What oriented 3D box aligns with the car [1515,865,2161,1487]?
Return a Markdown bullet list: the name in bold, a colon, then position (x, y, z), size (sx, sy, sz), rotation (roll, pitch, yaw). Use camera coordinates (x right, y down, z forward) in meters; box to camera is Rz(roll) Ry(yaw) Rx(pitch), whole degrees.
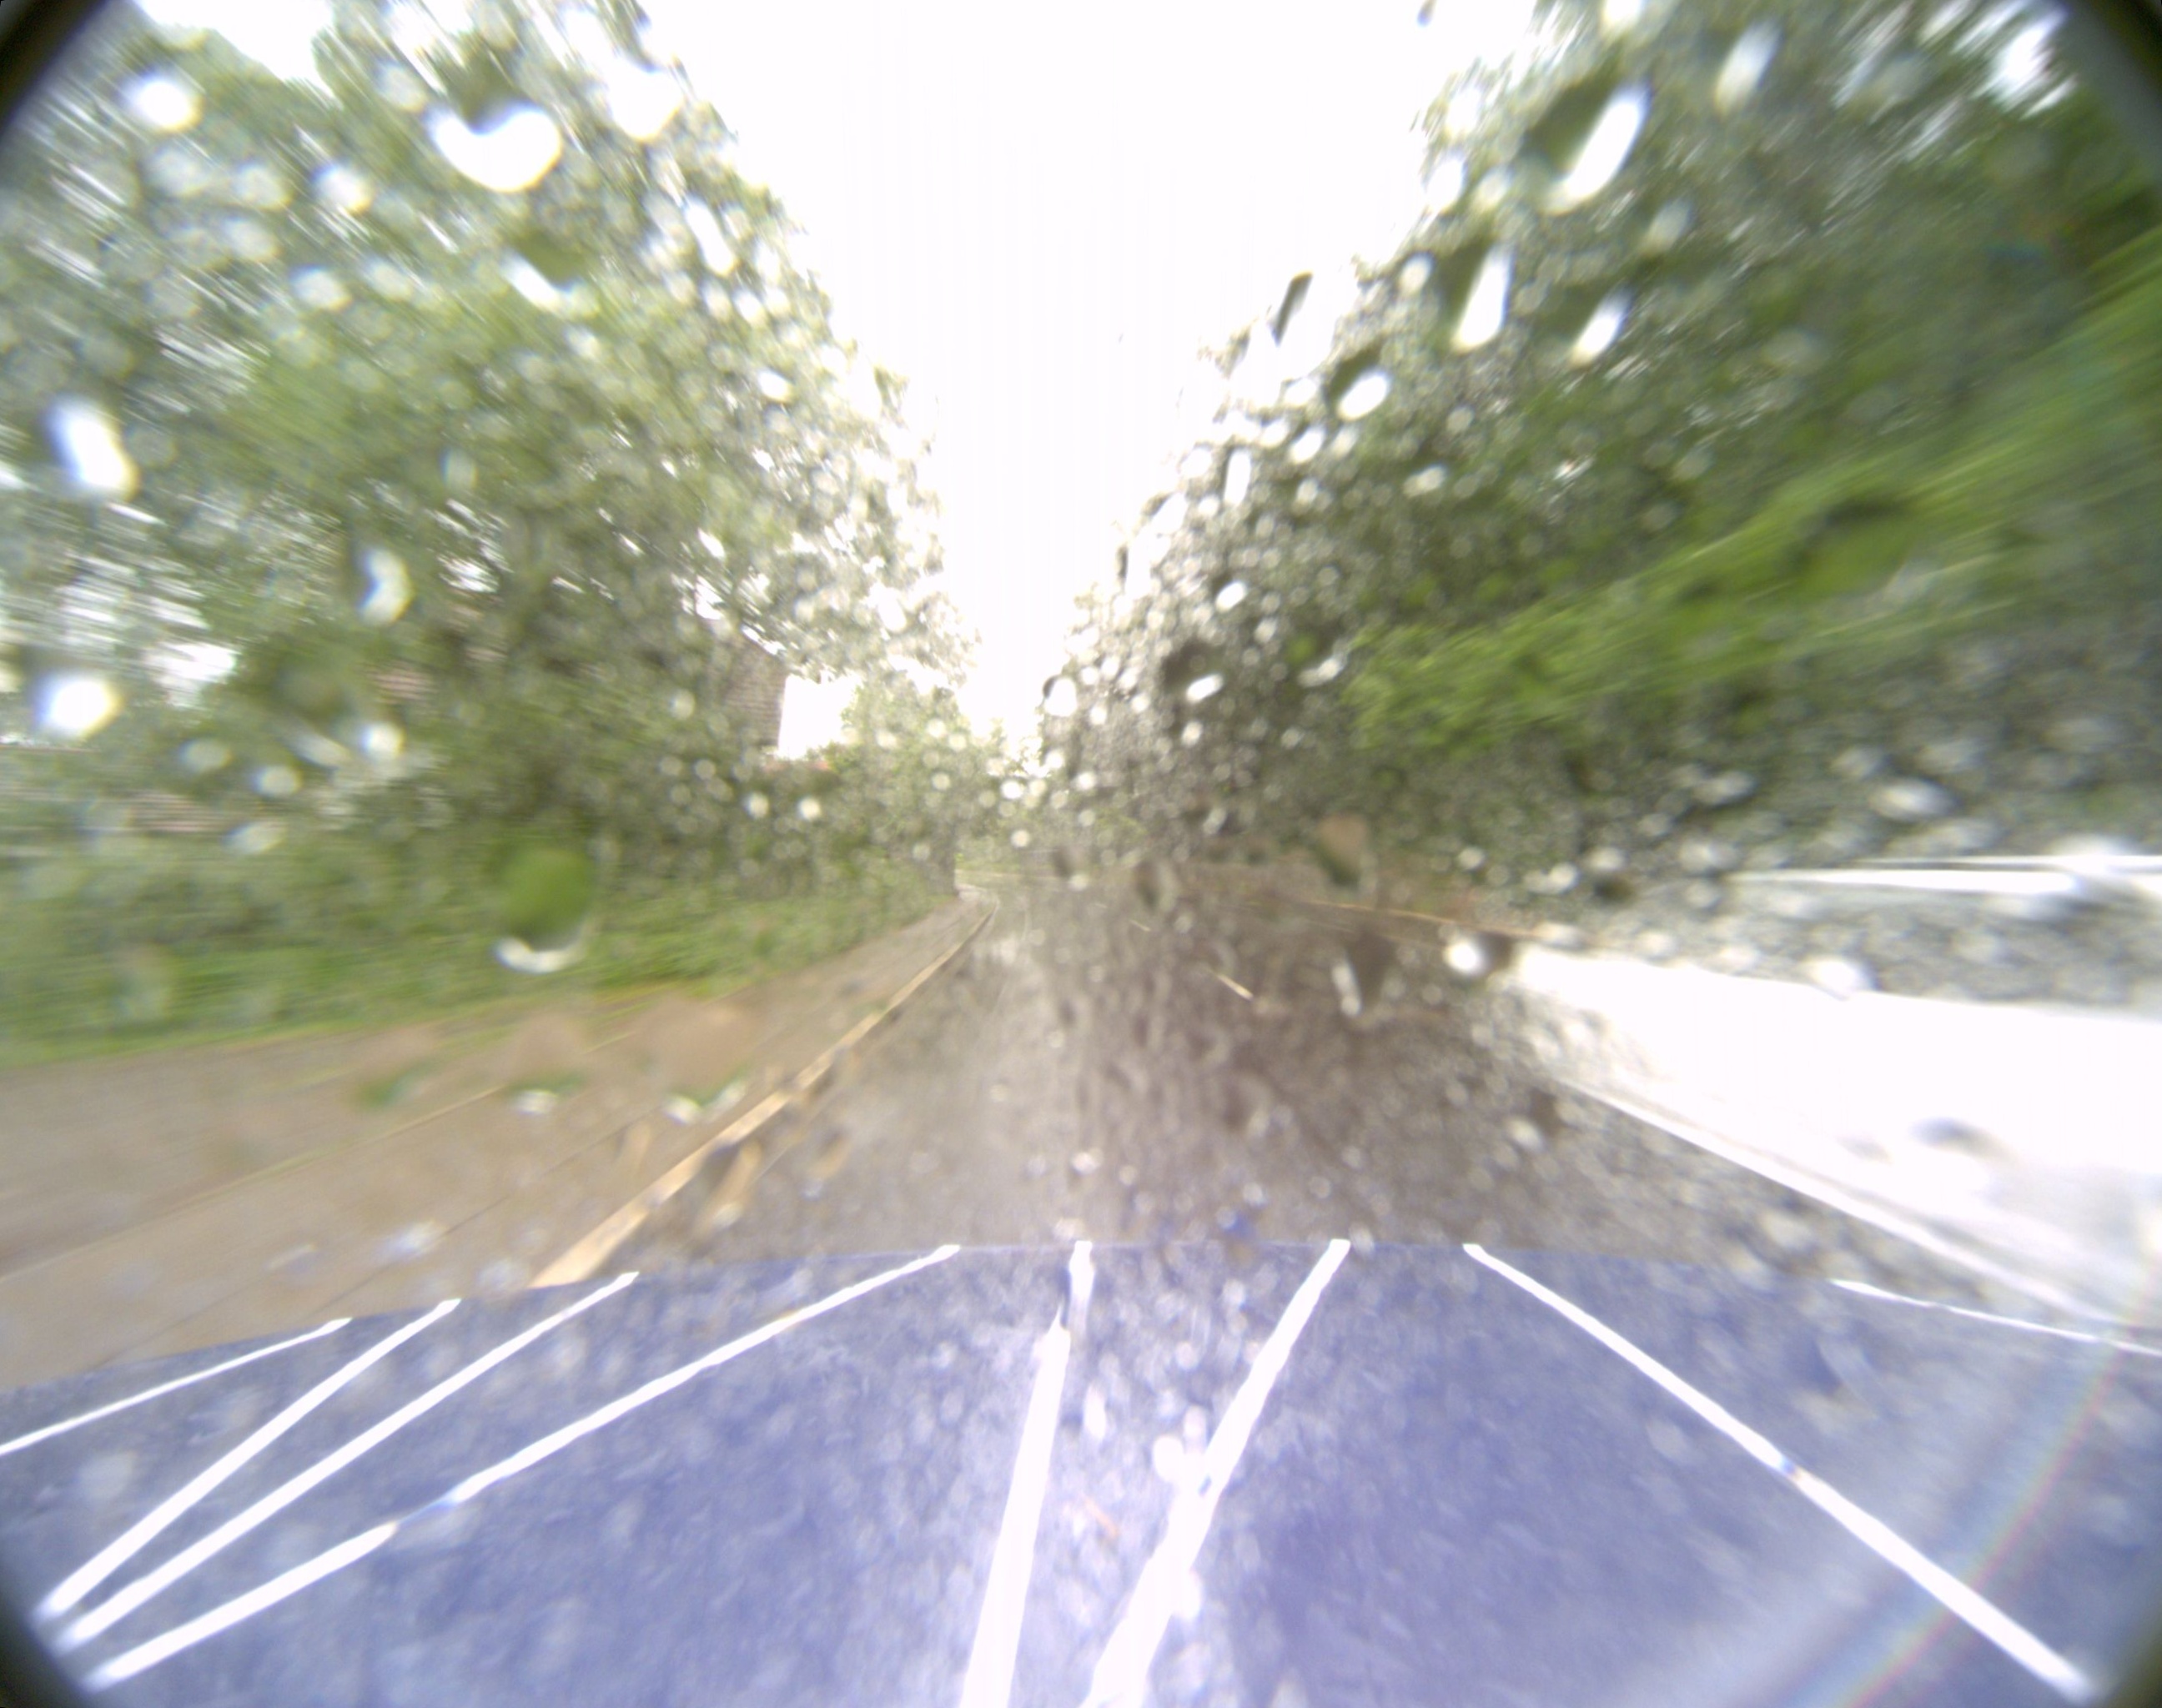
- **car**: position (3.477, 0.789, 2.212), size (1.791, 1.410, 4.634), rotation (-2, 0, 1)
